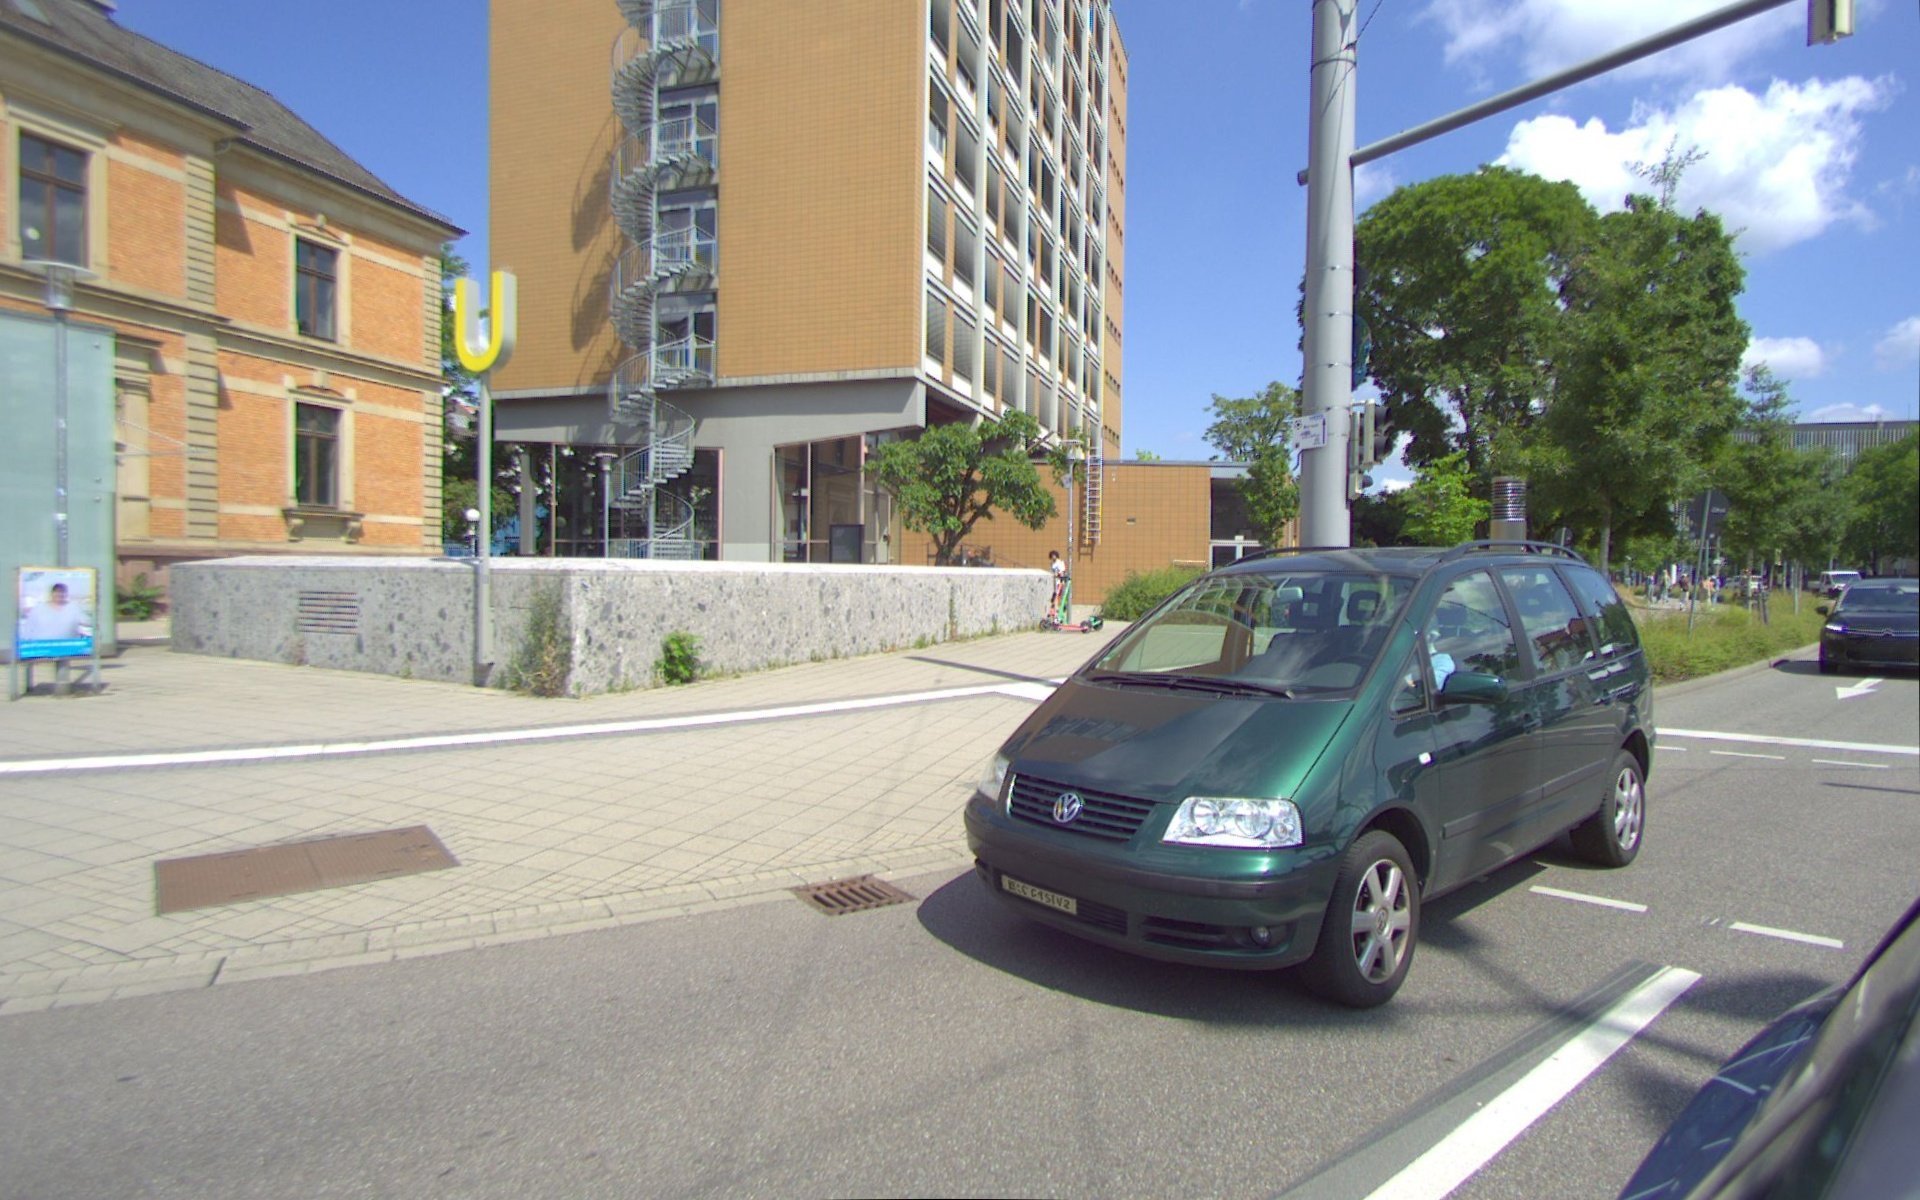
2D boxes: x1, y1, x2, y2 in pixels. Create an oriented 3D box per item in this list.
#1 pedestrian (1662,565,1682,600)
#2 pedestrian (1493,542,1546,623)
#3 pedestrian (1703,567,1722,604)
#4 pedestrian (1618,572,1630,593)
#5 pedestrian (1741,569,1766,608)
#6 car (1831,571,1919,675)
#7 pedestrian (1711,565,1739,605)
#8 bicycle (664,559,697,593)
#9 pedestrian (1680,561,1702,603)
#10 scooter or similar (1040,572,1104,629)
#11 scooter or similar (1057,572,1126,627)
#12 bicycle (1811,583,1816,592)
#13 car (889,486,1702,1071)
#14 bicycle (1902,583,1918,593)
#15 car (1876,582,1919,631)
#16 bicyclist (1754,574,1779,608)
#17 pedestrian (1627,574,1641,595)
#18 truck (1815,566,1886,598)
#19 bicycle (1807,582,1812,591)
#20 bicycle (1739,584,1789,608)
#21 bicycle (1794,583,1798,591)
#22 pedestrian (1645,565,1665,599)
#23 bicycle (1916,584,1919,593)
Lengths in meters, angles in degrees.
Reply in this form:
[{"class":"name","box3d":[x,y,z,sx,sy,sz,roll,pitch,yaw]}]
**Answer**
[{"class":"pedestrian","box3d":[38.448,-0.941,54.675,0.746,1.824,0.603,3,1,30]},{"class":"pedestrian","box3d":[11.432,-0.364,20.692,0.749,1.609,0.756,-2,1,-43]},{"class":"pedestrian","box3d":[33.309,-0.641,44.816,0.584,1.646,0.720,0,1,31]},{"class":"pedestrian","box3d":[58.823,-1.559,89.675,0.659,1.768,0.606,2,1,17]},{"class":"pedestrian","box3d":[34.050,-0.508,43.422,0.761,1.645,0.651,-1,4,-43]},{"class":"car","box3d":[16.520,0.318,17.633,1.857,1.643,4.451,-1,0,43]},{"class":"pedestrian","box3d":[36.222,-0.714,47.928,0.751,1.843,0.774,5,3,25]},{"class":"bicycle","box3d":[-9.038,-0.796,32.742,0.367,1.047,1.956,-1,3,4]},{"class":"pedestrian","box3d":[32.647,-0.809,45.218,0.752,1.844,0.631,0,1,31]},{"class":"scooter or similar","box3d":[2.332,0.018,21.072,1.257,1.138,0.231,2,1,-5]},{"class":"scooter or similar","box3d":[2.839,-0.007,21.833,1.423,1.138,0.231,2,1,-5]},{"class":"bicycle","box3d":[109.285,-1.595,129.599,0.381,1.121,1.644,1,2,44]},{"class":"car","box3d":[1.960,0.490,5.101,4.368,1.745,1.798,-2,0,-39]},{"class":"bicycle","box3d":[106.064,-1.339,112.980,0.391,1.056,1.758,1,1,8]},{"class":"car","box3d":[30.167,0.162,31.943,1.759,1.435,4.299,-1,0,41]},{"class":"bicyclist","box3d":[40.493,-0.468,50.816,0.824,1.620,0.574,4,4,30]},{"class":"pedestrian","box3d":[59.625,-1.368,89.483,0.742,1.799,0.877,2,1,17]},{"class":"truck","box3d":[69.630,-1.411,79.221,2.436,2.330,5.770,-1,0,23]},{"class":"bicycle","box3d":[109.490,-1.697,130.392,0.381,1.121,1.644,1,2,44]},{"class":"bicycle","box3d":[40.400,-0.195,50.879,1.801,1.062,0.585,4,4,30]},{"class":"bicycle","box3d":[110.317,-1.754,133.529,0.328,1.030,1.644,1,2,44]},{"class":"pedestrian","box3d":[37.619,-0.969,54.789,0.746,1.774,0.603,3,1,30]},{"class":"bicycle","box3d":[105.815,-1.258,111.160,0.391,1.056,1.580,1,1,8]}]
